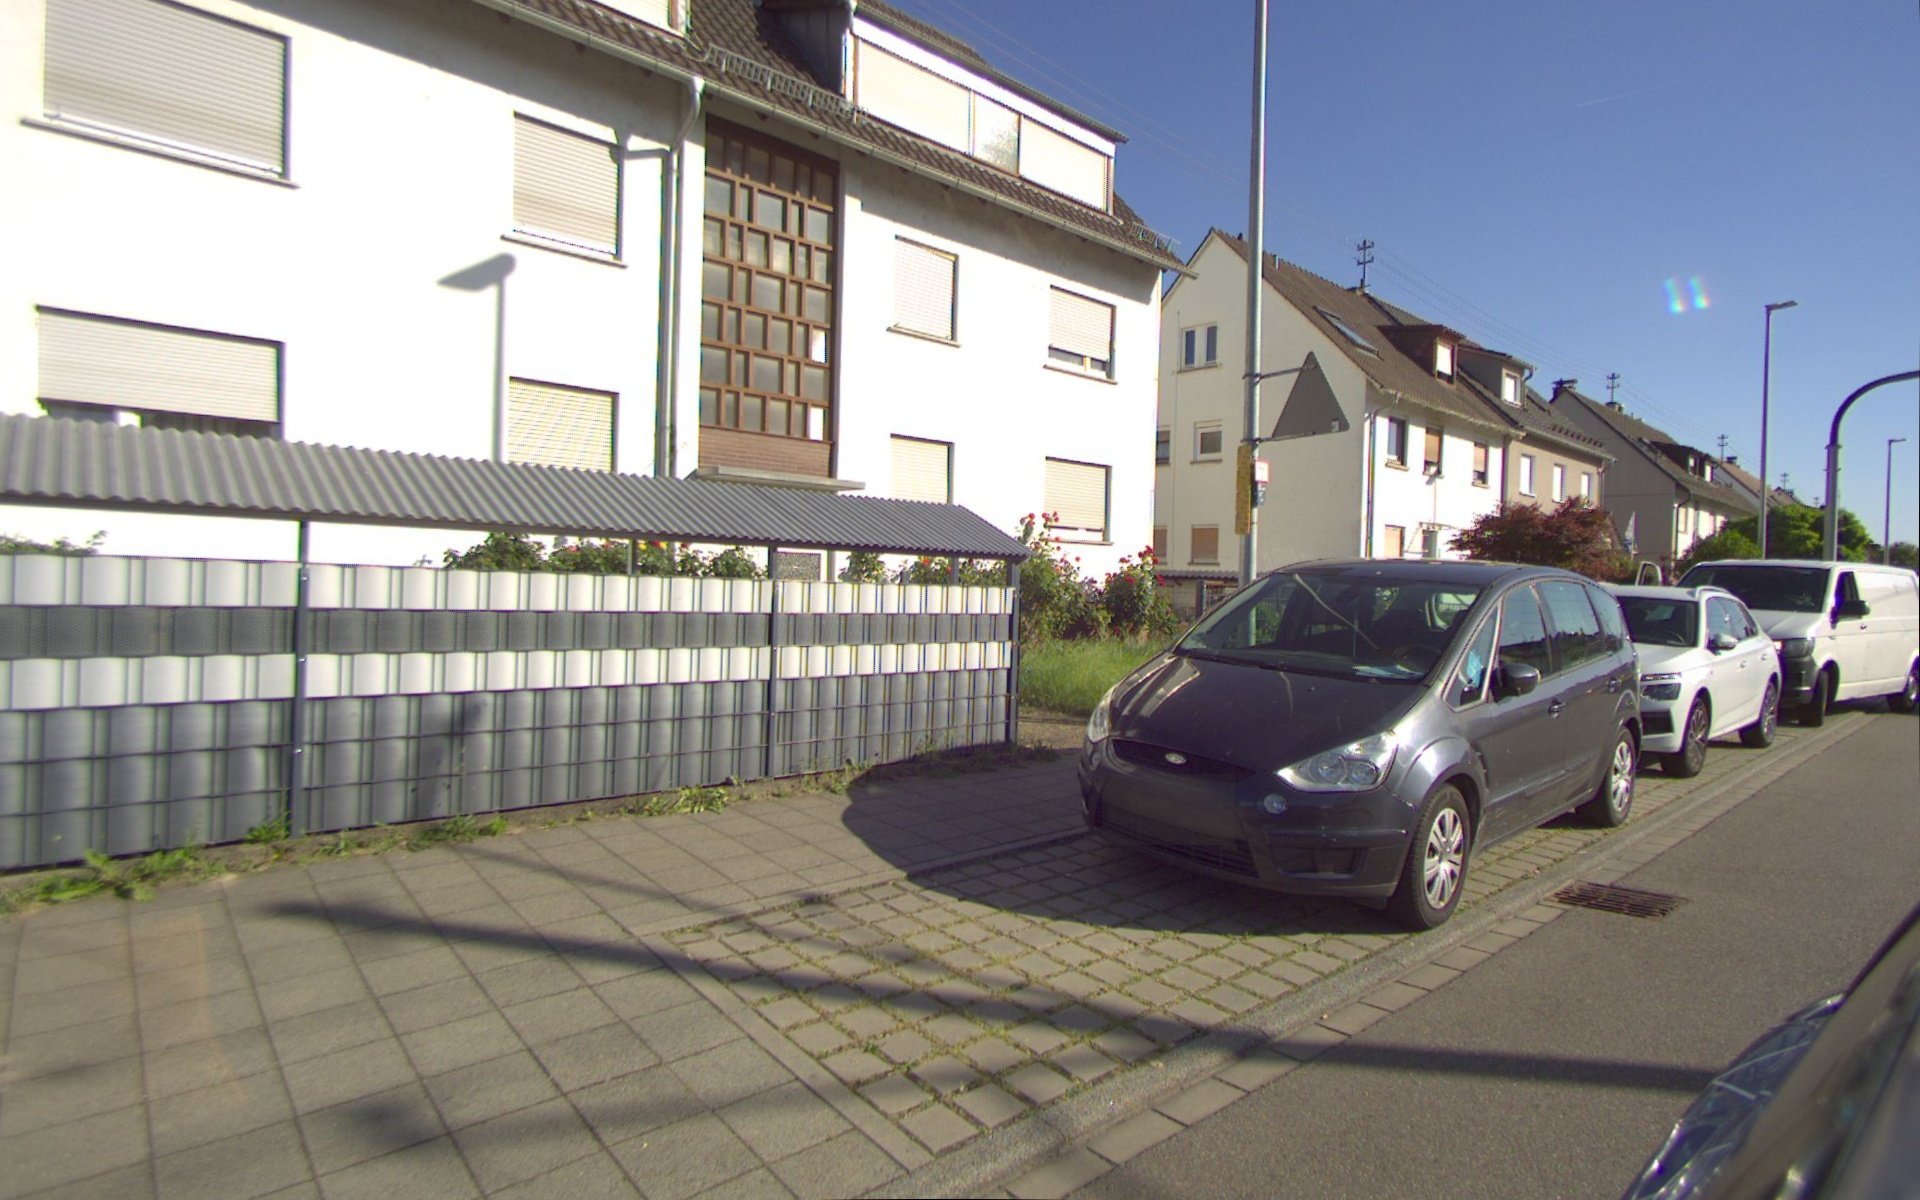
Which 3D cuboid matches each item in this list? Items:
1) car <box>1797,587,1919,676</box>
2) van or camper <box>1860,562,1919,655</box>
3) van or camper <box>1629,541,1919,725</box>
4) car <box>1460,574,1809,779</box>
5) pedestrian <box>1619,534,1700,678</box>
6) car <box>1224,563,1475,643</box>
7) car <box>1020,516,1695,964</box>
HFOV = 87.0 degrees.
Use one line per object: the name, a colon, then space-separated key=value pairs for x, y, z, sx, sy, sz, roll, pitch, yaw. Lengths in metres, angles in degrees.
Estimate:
car: x=18.511 y=0.532 z=20.407 sx=5.067 sy=1.512 sz=1.752 roll=-1 pitch=3 yaw=-42
van or camper: x=26.268 y=0.177 z=27.465 sx=6.197 sy=2.298 sz=1.997 roll=-1 pitch=3 yaw=-42
van or camper: x=11.035 y=0.327 z=13.252 sx=5.194 sy=1.980 sz=2.035 roll=0 pitch=2 yaw=-36
car: x=6.484 y=0.536 z=9.559 sx=4.086 sy=1.511 sz=1.660 roll=-1 pitch=2 yaw=-40
pedestrian: x=9.750 y=0.078 z=14.110 sx=0.744 sy=1.936 sz=0.701 roll=0 pitch=0 yaw=-33
car: x=8.258 y=-0.019 z=21.813 sx=1.875 sy=1.495 sz=4.717 roll=-1 pitch=3 yaw=-43
car: x=2.677 y=0.457 z=6.017 sx=4.779 sy=1.648 sz=1.794 roll=0 pitch=4 yaw=-43
